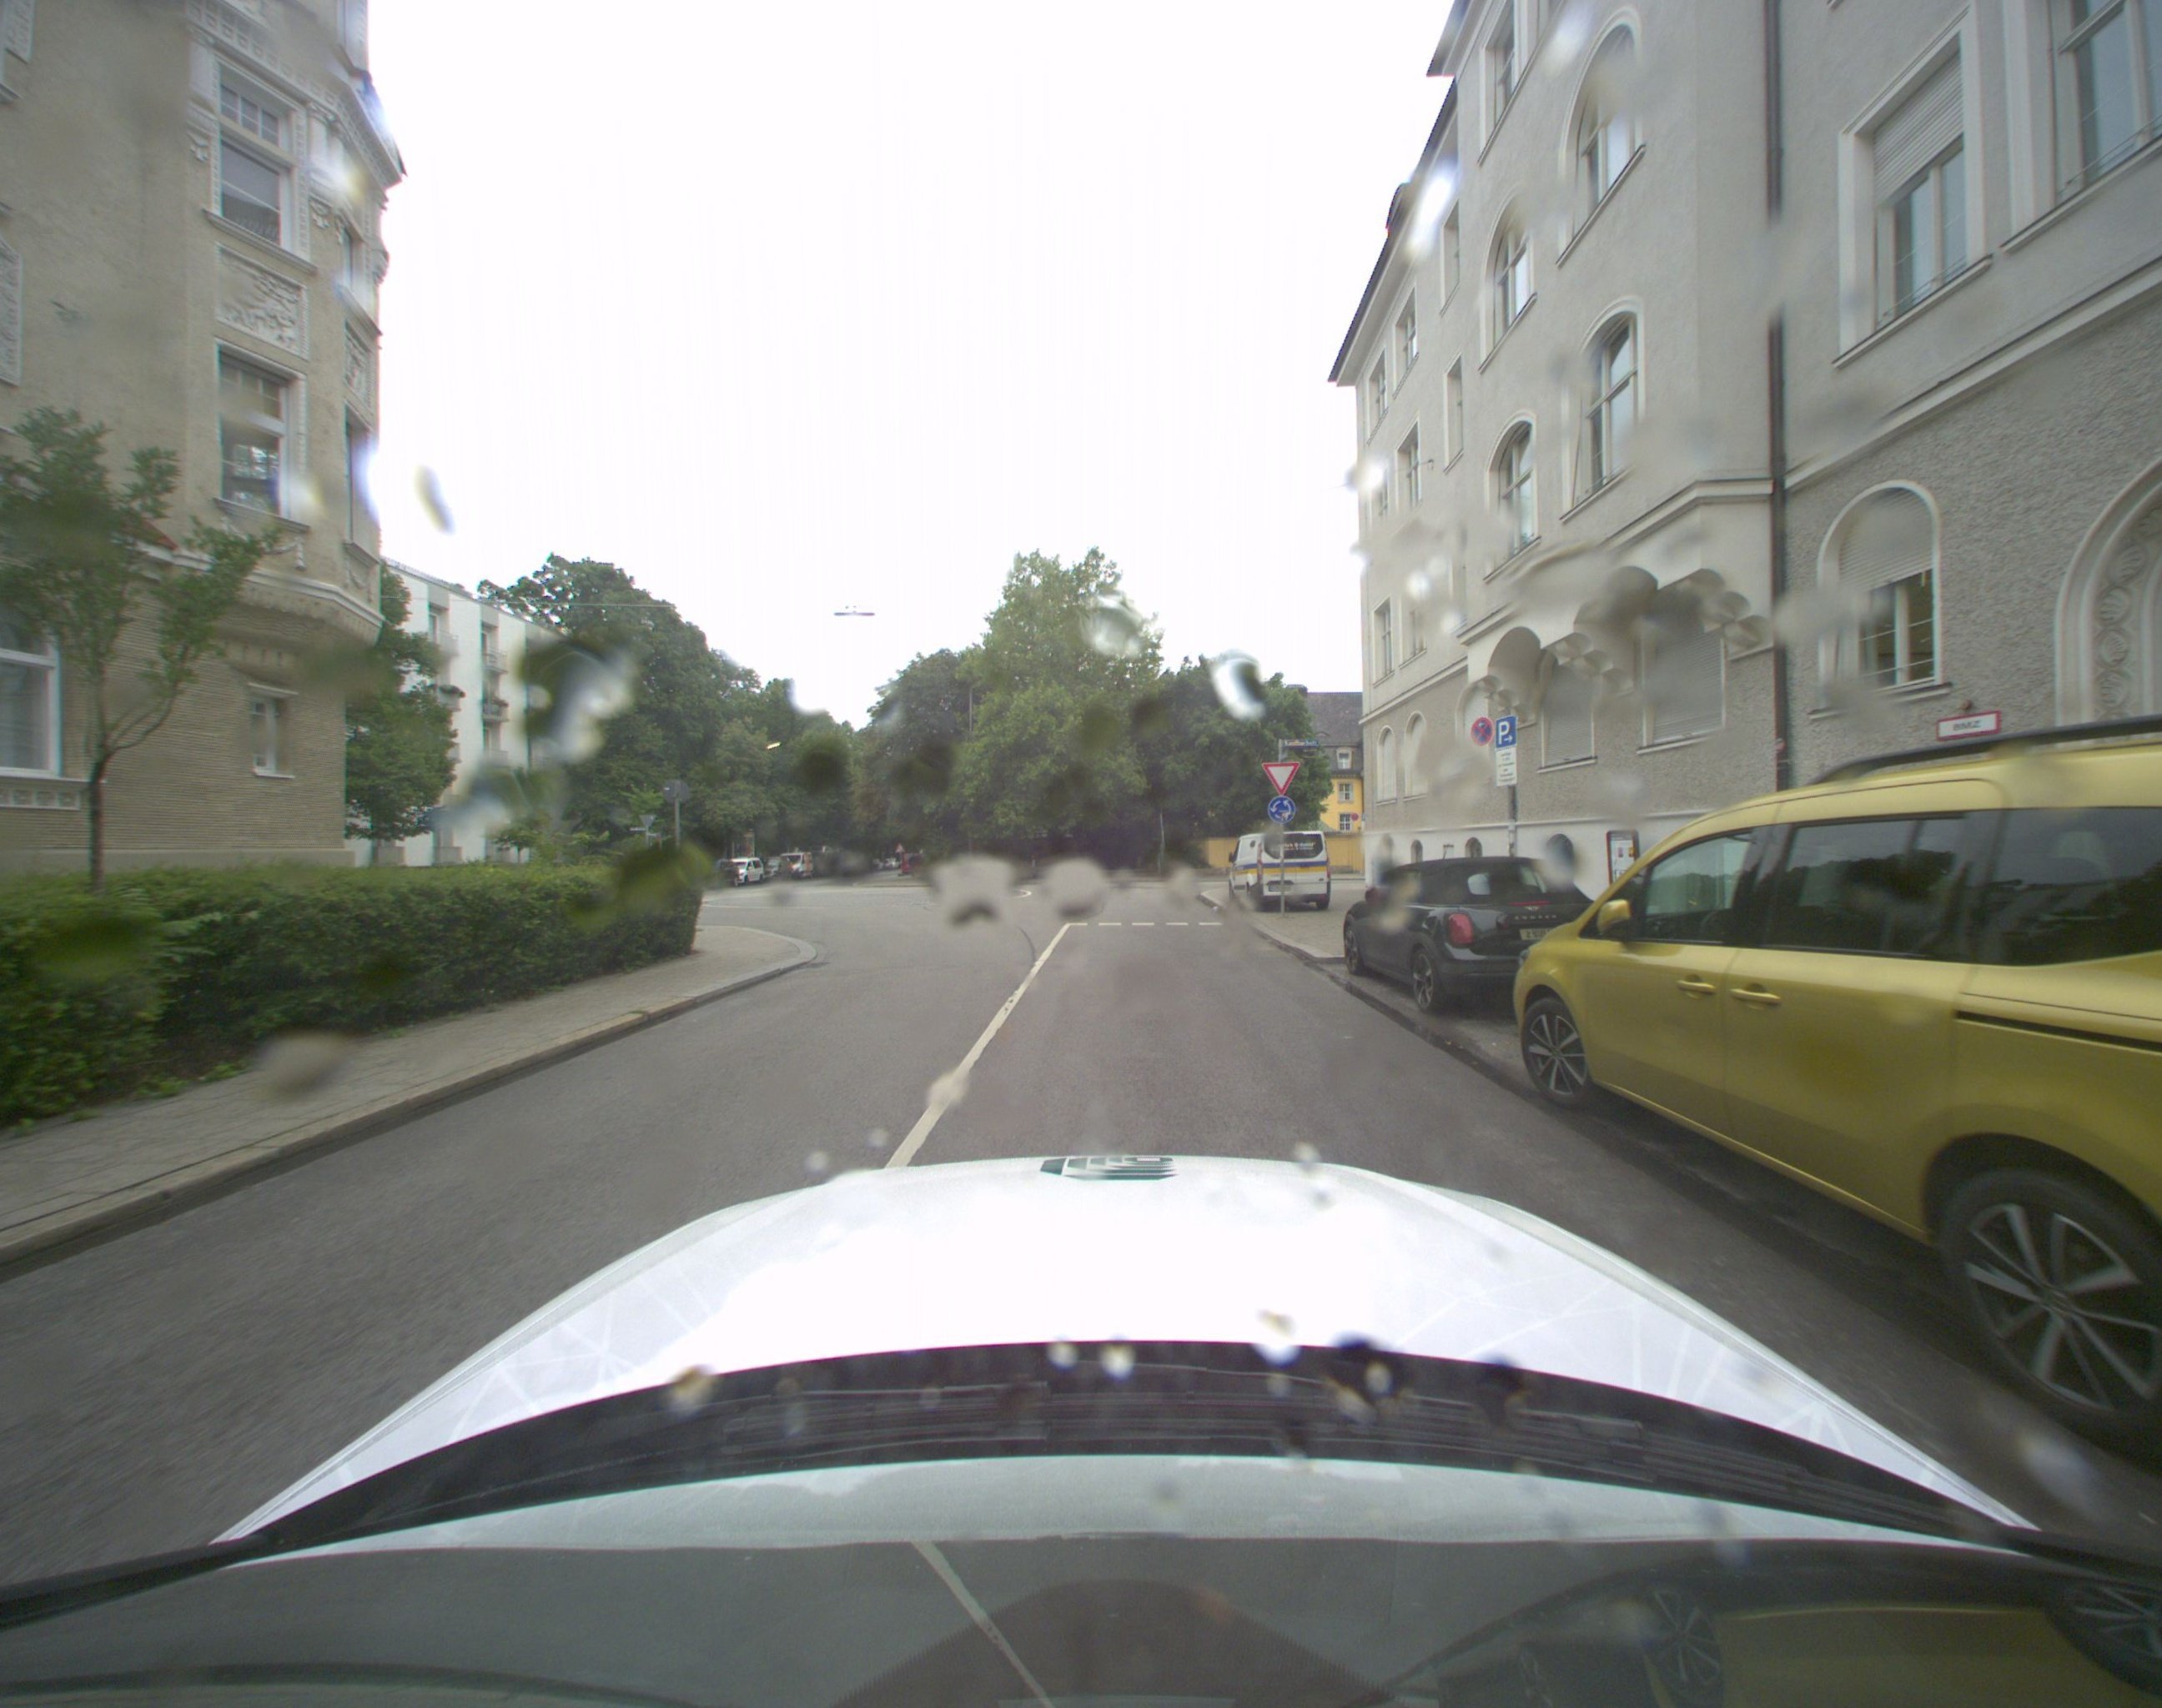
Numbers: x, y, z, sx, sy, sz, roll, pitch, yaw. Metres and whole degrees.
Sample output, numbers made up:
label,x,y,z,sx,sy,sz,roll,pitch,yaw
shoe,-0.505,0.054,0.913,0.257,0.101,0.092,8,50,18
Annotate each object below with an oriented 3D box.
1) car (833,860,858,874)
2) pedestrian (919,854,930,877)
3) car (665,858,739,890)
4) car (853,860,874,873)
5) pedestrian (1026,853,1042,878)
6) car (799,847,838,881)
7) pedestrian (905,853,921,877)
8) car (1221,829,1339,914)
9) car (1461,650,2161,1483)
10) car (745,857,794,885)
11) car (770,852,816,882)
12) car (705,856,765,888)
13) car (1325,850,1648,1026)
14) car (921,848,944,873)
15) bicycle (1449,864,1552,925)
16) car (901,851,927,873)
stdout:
label,x,y,z,sx,sy,sz,roll,pitch,yaw
car,-25.426,1.428,88.113,1.993,1.420,4.117,-1,0,-8
pedestrian,-11.736,0.859,60.973,0.637,1.667,0.691,-1,0,-28
car,-22.312,1.151,48.198,2.079,1.719,5.299,-1,0,-3
car,-27.077,1.513,101.331,1.993,1.487,4.117,-1,0,-8
pedestrian,-2.584,0.643,44.925,0.765,1.356,1.132,-1,0,4
car,-24.605,0.874,76.568,2.170,3.002,6.220,-1,0,-6
pedestrian,-12.631,0.827,61.305,0.825,1.836,0.942,-1,0,-33
car,5.124,0.395,21.763,1.931,1.922,5.377,-2,0,2
car,3.609,0.468,3.598,1.984,1.918,4.577,-1,0,4
car,-23.107,1.189,60.691,2.024,1.908,5.653,-3,0,-7
car,-23.876,1.043,67.717,2.080,2.264,5.593,-3,0,-5
car,-22.631,1.129,53.486,2.080,1.903,4.851,-1,0,-4
car,3.992,0.709,8.791,1.705,1.445,3.830,-1,0,3
car,-16.469,0.703,90.772,1.990,2.558,5.420,-1,0,-5
bicycle,9.000,0.821,17.640,0.835,1.112,2.759,-5,0,3
car,-15.344,0.687,74.871,1.910,1.937,4.956,-1,0,-7
